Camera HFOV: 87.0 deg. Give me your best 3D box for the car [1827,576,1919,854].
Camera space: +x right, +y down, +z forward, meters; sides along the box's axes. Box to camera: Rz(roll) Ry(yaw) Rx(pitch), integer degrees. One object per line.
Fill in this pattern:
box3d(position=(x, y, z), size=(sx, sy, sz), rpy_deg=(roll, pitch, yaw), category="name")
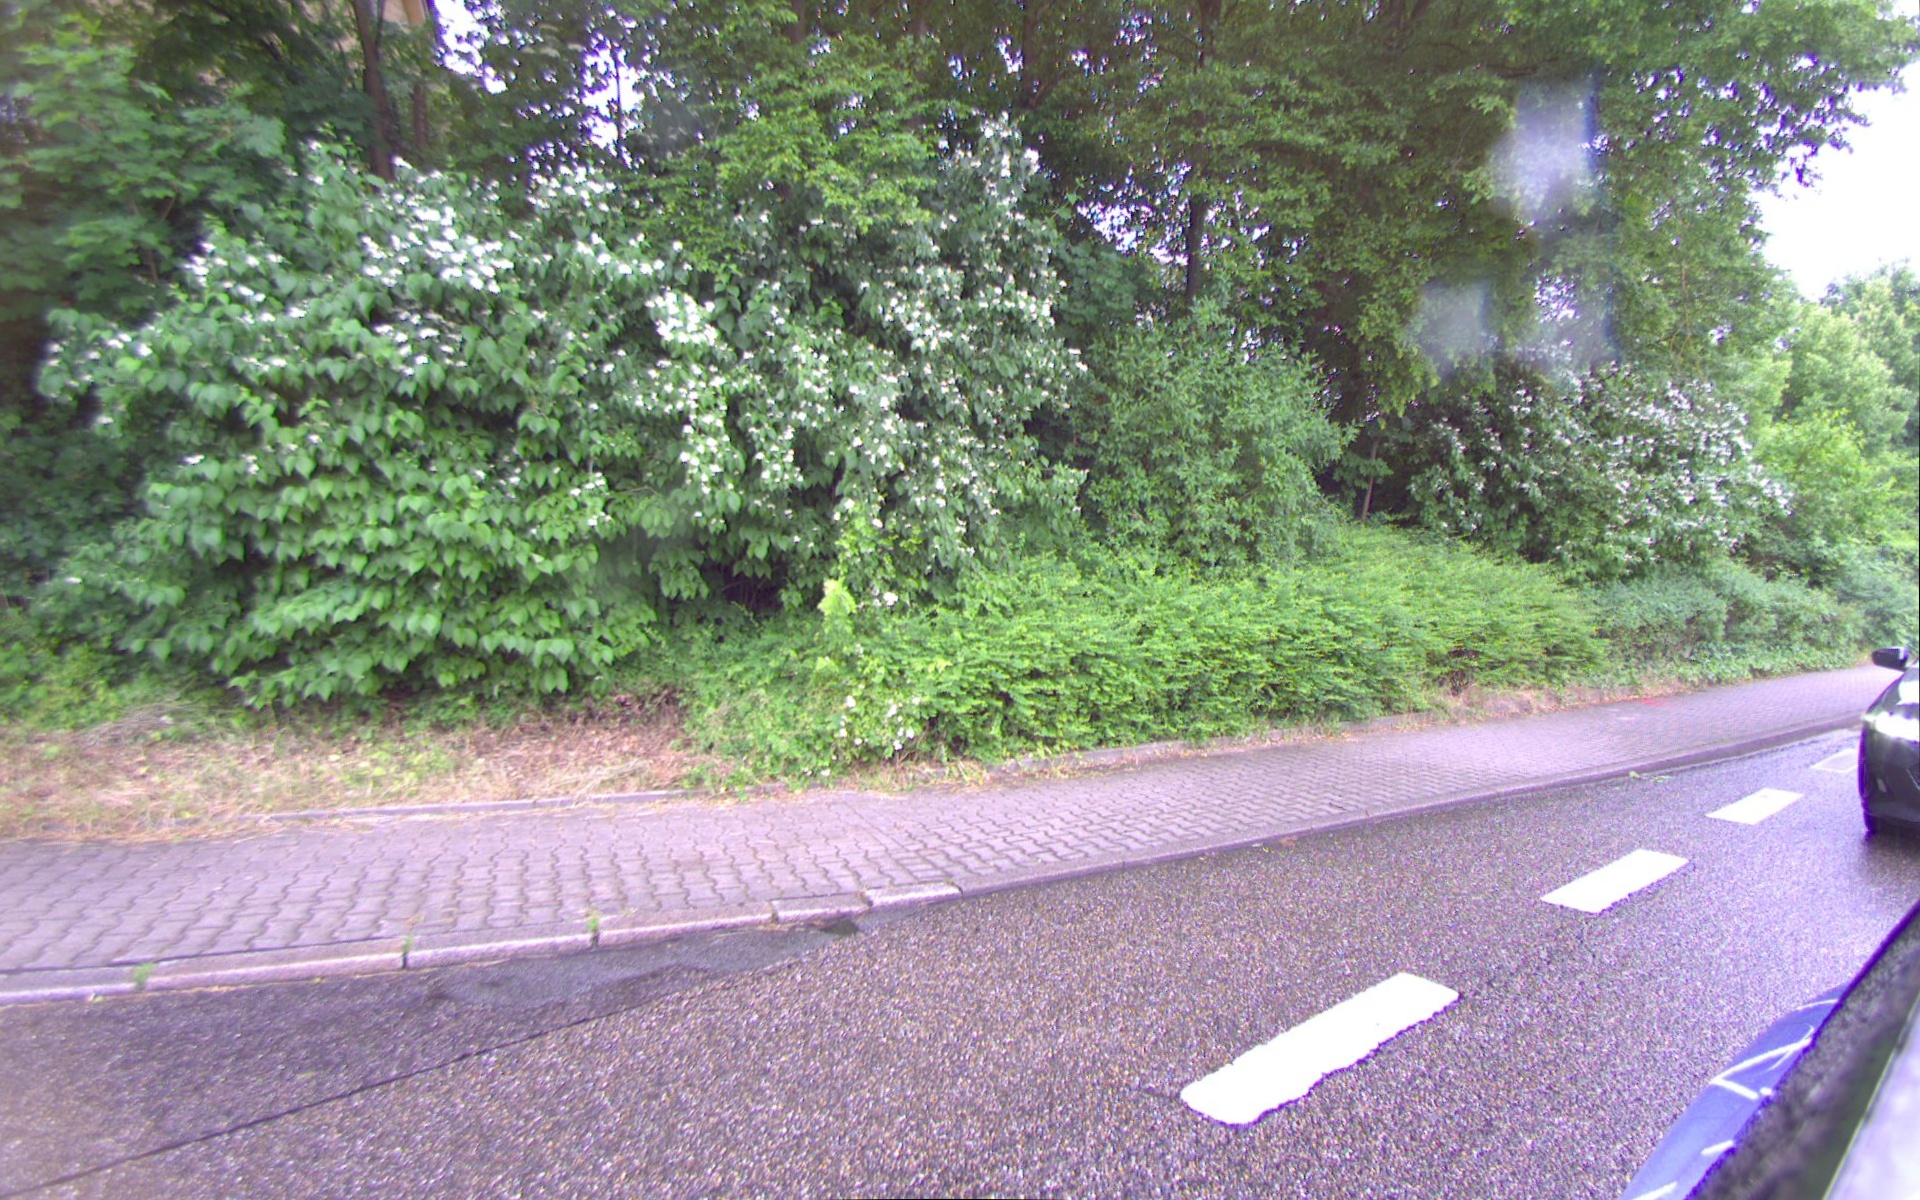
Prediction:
box3d(position=(7.320, 0.662, 6.319), size=(4.118, 1.524, 1.875), rpy_deg=(0, 4, -35), category="car")
